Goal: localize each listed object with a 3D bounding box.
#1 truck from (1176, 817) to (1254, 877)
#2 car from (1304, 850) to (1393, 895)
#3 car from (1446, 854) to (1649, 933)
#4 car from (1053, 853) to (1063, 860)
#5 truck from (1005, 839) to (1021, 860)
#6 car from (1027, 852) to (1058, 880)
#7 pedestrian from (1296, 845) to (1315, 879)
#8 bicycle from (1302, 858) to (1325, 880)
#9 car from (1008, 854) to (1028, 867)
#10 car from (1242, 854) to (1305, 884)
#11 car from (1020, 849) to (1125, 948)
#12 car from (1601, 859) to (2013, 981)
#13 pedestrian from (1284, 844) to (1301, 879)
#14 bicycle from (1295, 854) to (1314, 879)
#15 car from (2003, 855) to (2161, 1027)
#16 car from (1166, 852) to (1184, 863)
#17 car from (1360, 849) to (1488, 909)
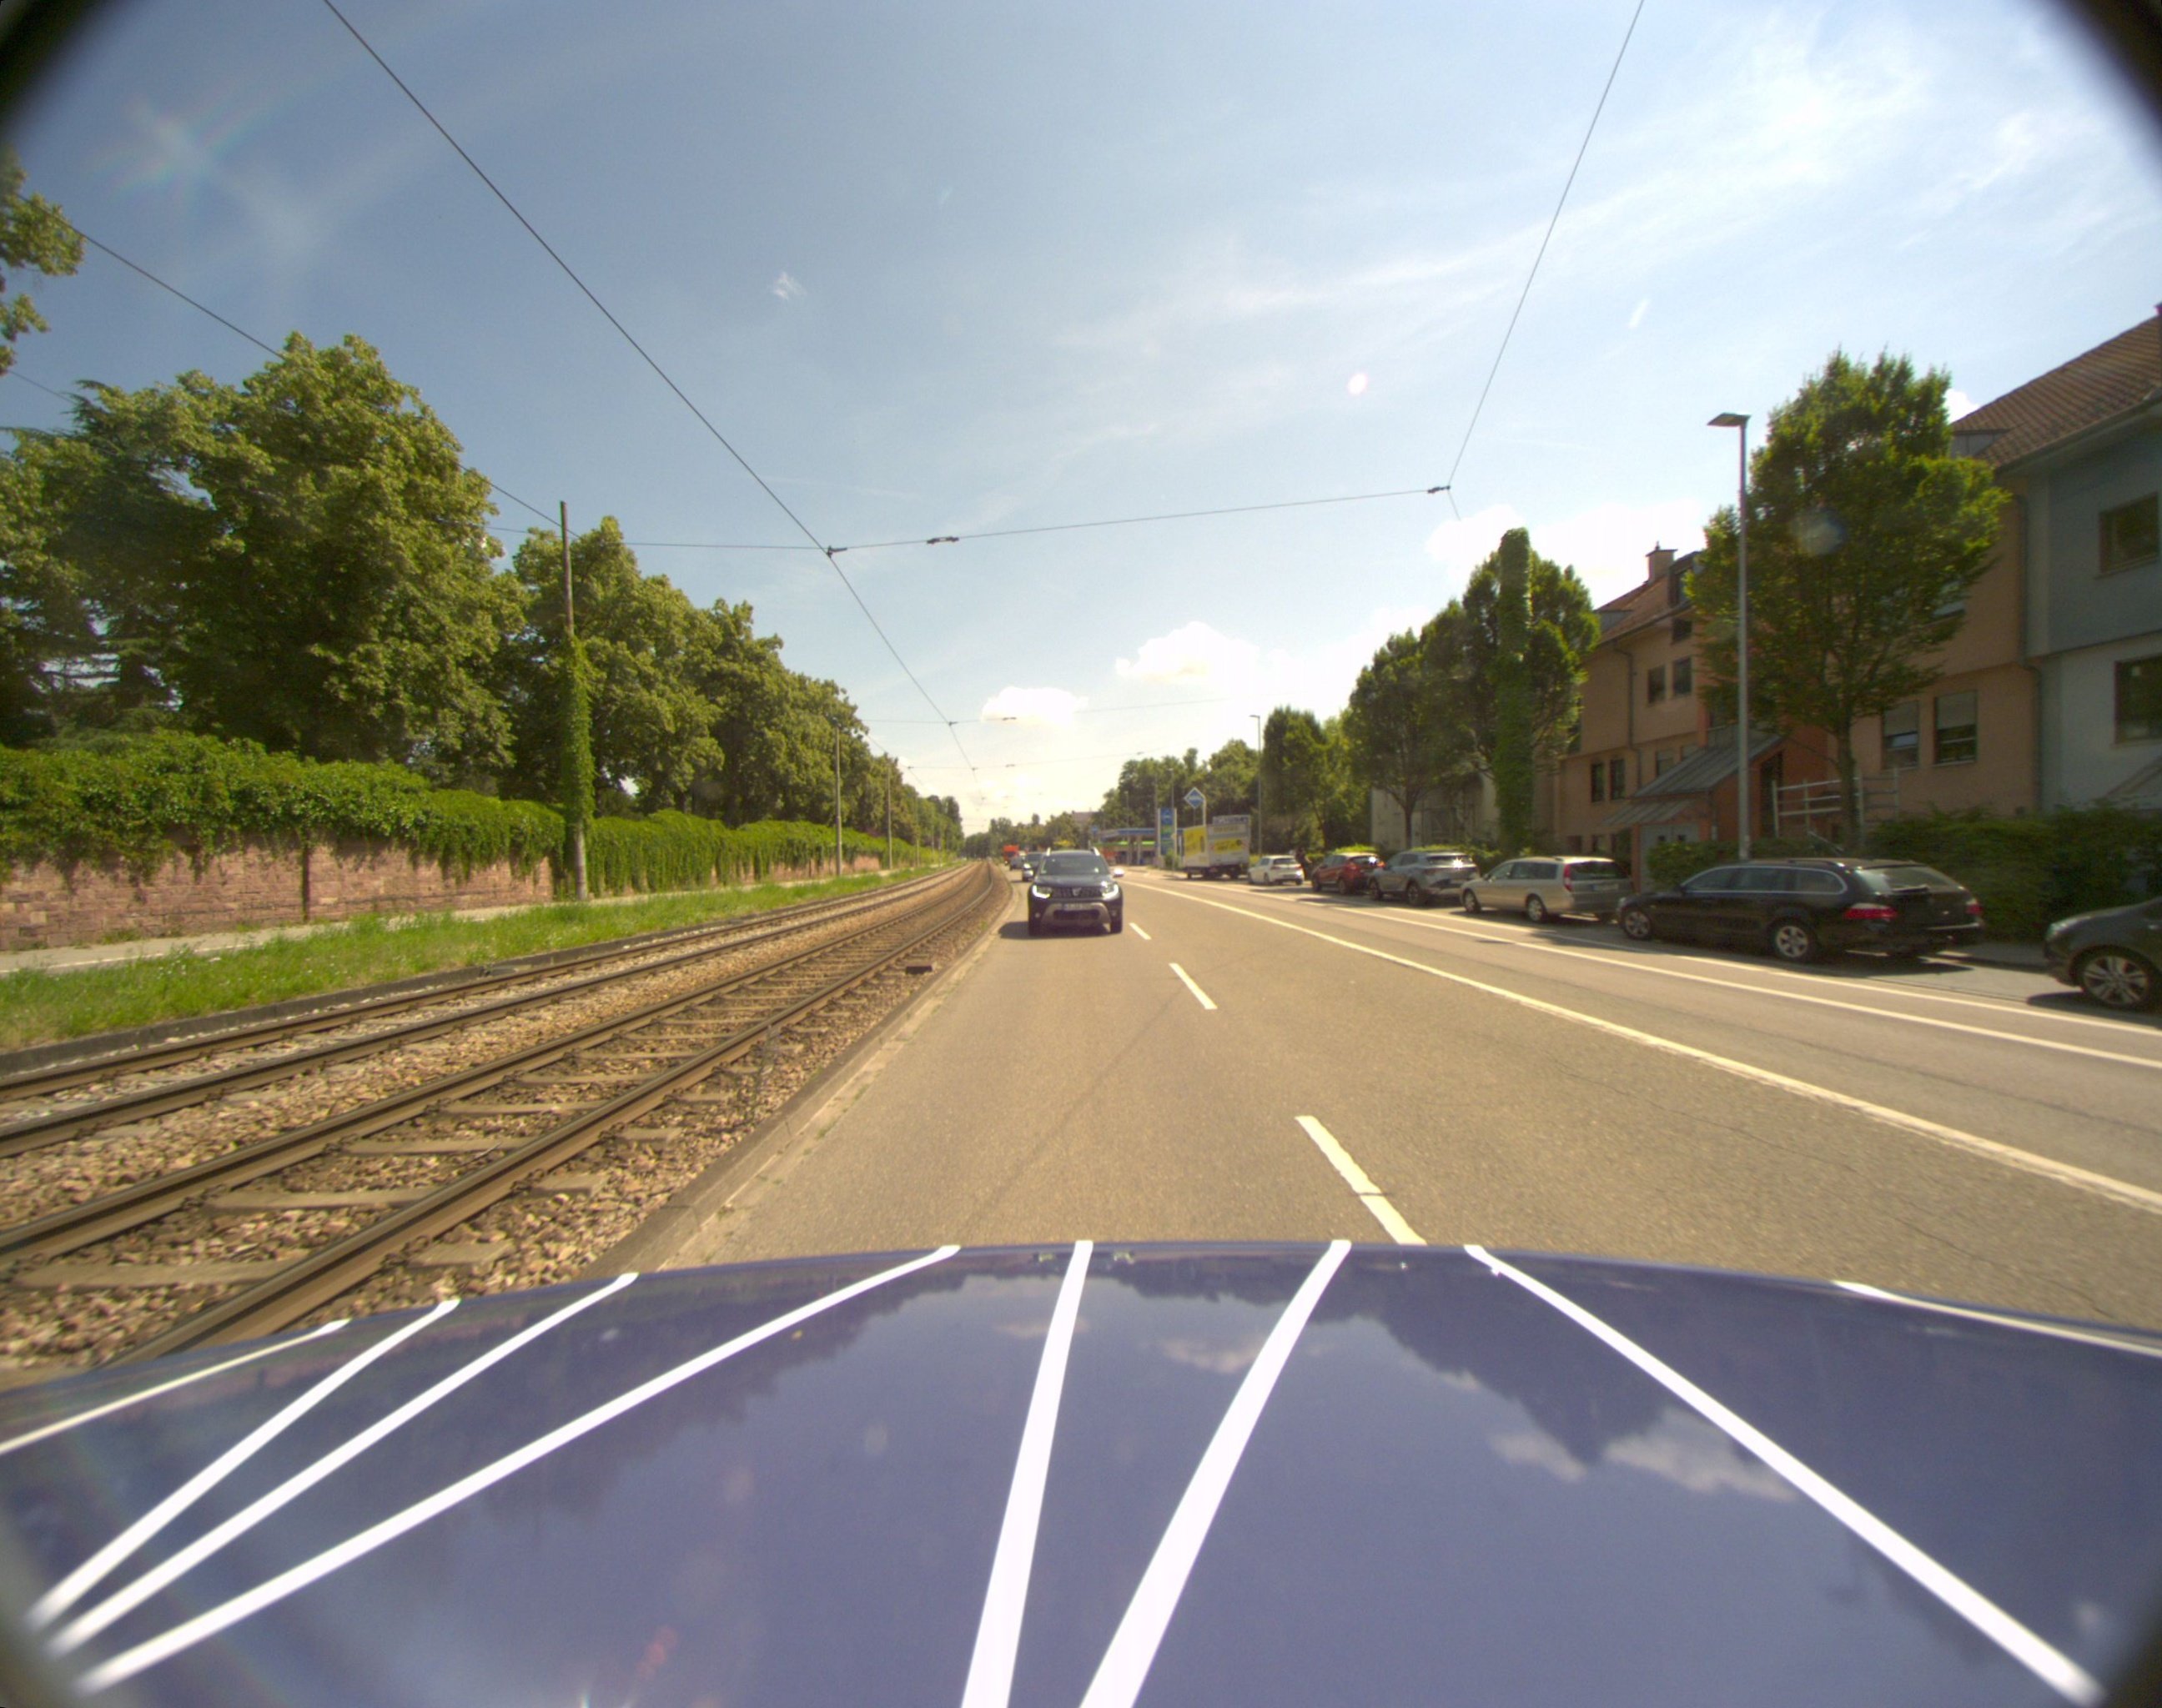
[{"bbox_3d":[8.632,-0.429,49.999,2.840,3.528,8.166,-3,0,-6],"label":"truck"},{"bbox_3d":[10.317,0.664,29.635,1.660,1.600,4.171,-1,1,-6],"label":"car"},{"bbox_3d":[10.938,0.816,18.335,1.660,1.499,4.893,-3,1,-3],"label":"car"},{"bbox_3d":[-5.128,0.573,168.419,1.999,1.379,3.998,0,0,-4],"label":"car"},{"bbox_3d":[-12.355,-0.799,138.104,2.847,3.574,8.700,-1,1,-5],"label":"truck"},{"bbox_3d":[-2.411,0.725,47.664,1.802,1.683,4.143,-1,0,-3],"label":"car"},{"bbox_3d":[11.906,0.429,40.346,0.685,1.784,0.702,-1,1,-32],"label":"pedestrian"},{"bbox_3d":[12.268,0.766,40.178,0.457,1.119,1.663,-1,0,-9],"label":"bicycle"},{"bbox_3d":[-6.859,0.672,82.391,2.000,1.346,3.997,2,0,-6],"label":"car"},{"bbox_3d":[9.582,0.709,38.125,1.660,1.402,4.395,0,0,-6],"label":"car"},{"bbox_3d":[-0.262,0.766,15.809,1.802,1.652,4.785,-2,1,-3],"label":"car"},{"bbox_3d":[10.954,0.855,12.158,1.746,1.438,4.963,-2,0,-1],"label":"car"},{"bbox_3d":[11.467,0.394,41.147,0.642,1.911,0.710,0,1,38],"label":"pedestrian"},{"bbox_3d":[12.261,0.666,41.638,0.457,1.308,1.664,0,0,-4],"label":"bicycle"},{"bbox_3d":[11.015,0.835,6.241,1.660,1.608,4.285,0,1,0],"label":"car"},{"bbox_3d":[14.845,0.537,120.312,1.849,1.661,3.997,0,0,-8],"label":"car"},{"bbox_3d":[10.528,0.708,23.748,1.660,1.600,4.686,-3,0,-2],"label":"car"}]
